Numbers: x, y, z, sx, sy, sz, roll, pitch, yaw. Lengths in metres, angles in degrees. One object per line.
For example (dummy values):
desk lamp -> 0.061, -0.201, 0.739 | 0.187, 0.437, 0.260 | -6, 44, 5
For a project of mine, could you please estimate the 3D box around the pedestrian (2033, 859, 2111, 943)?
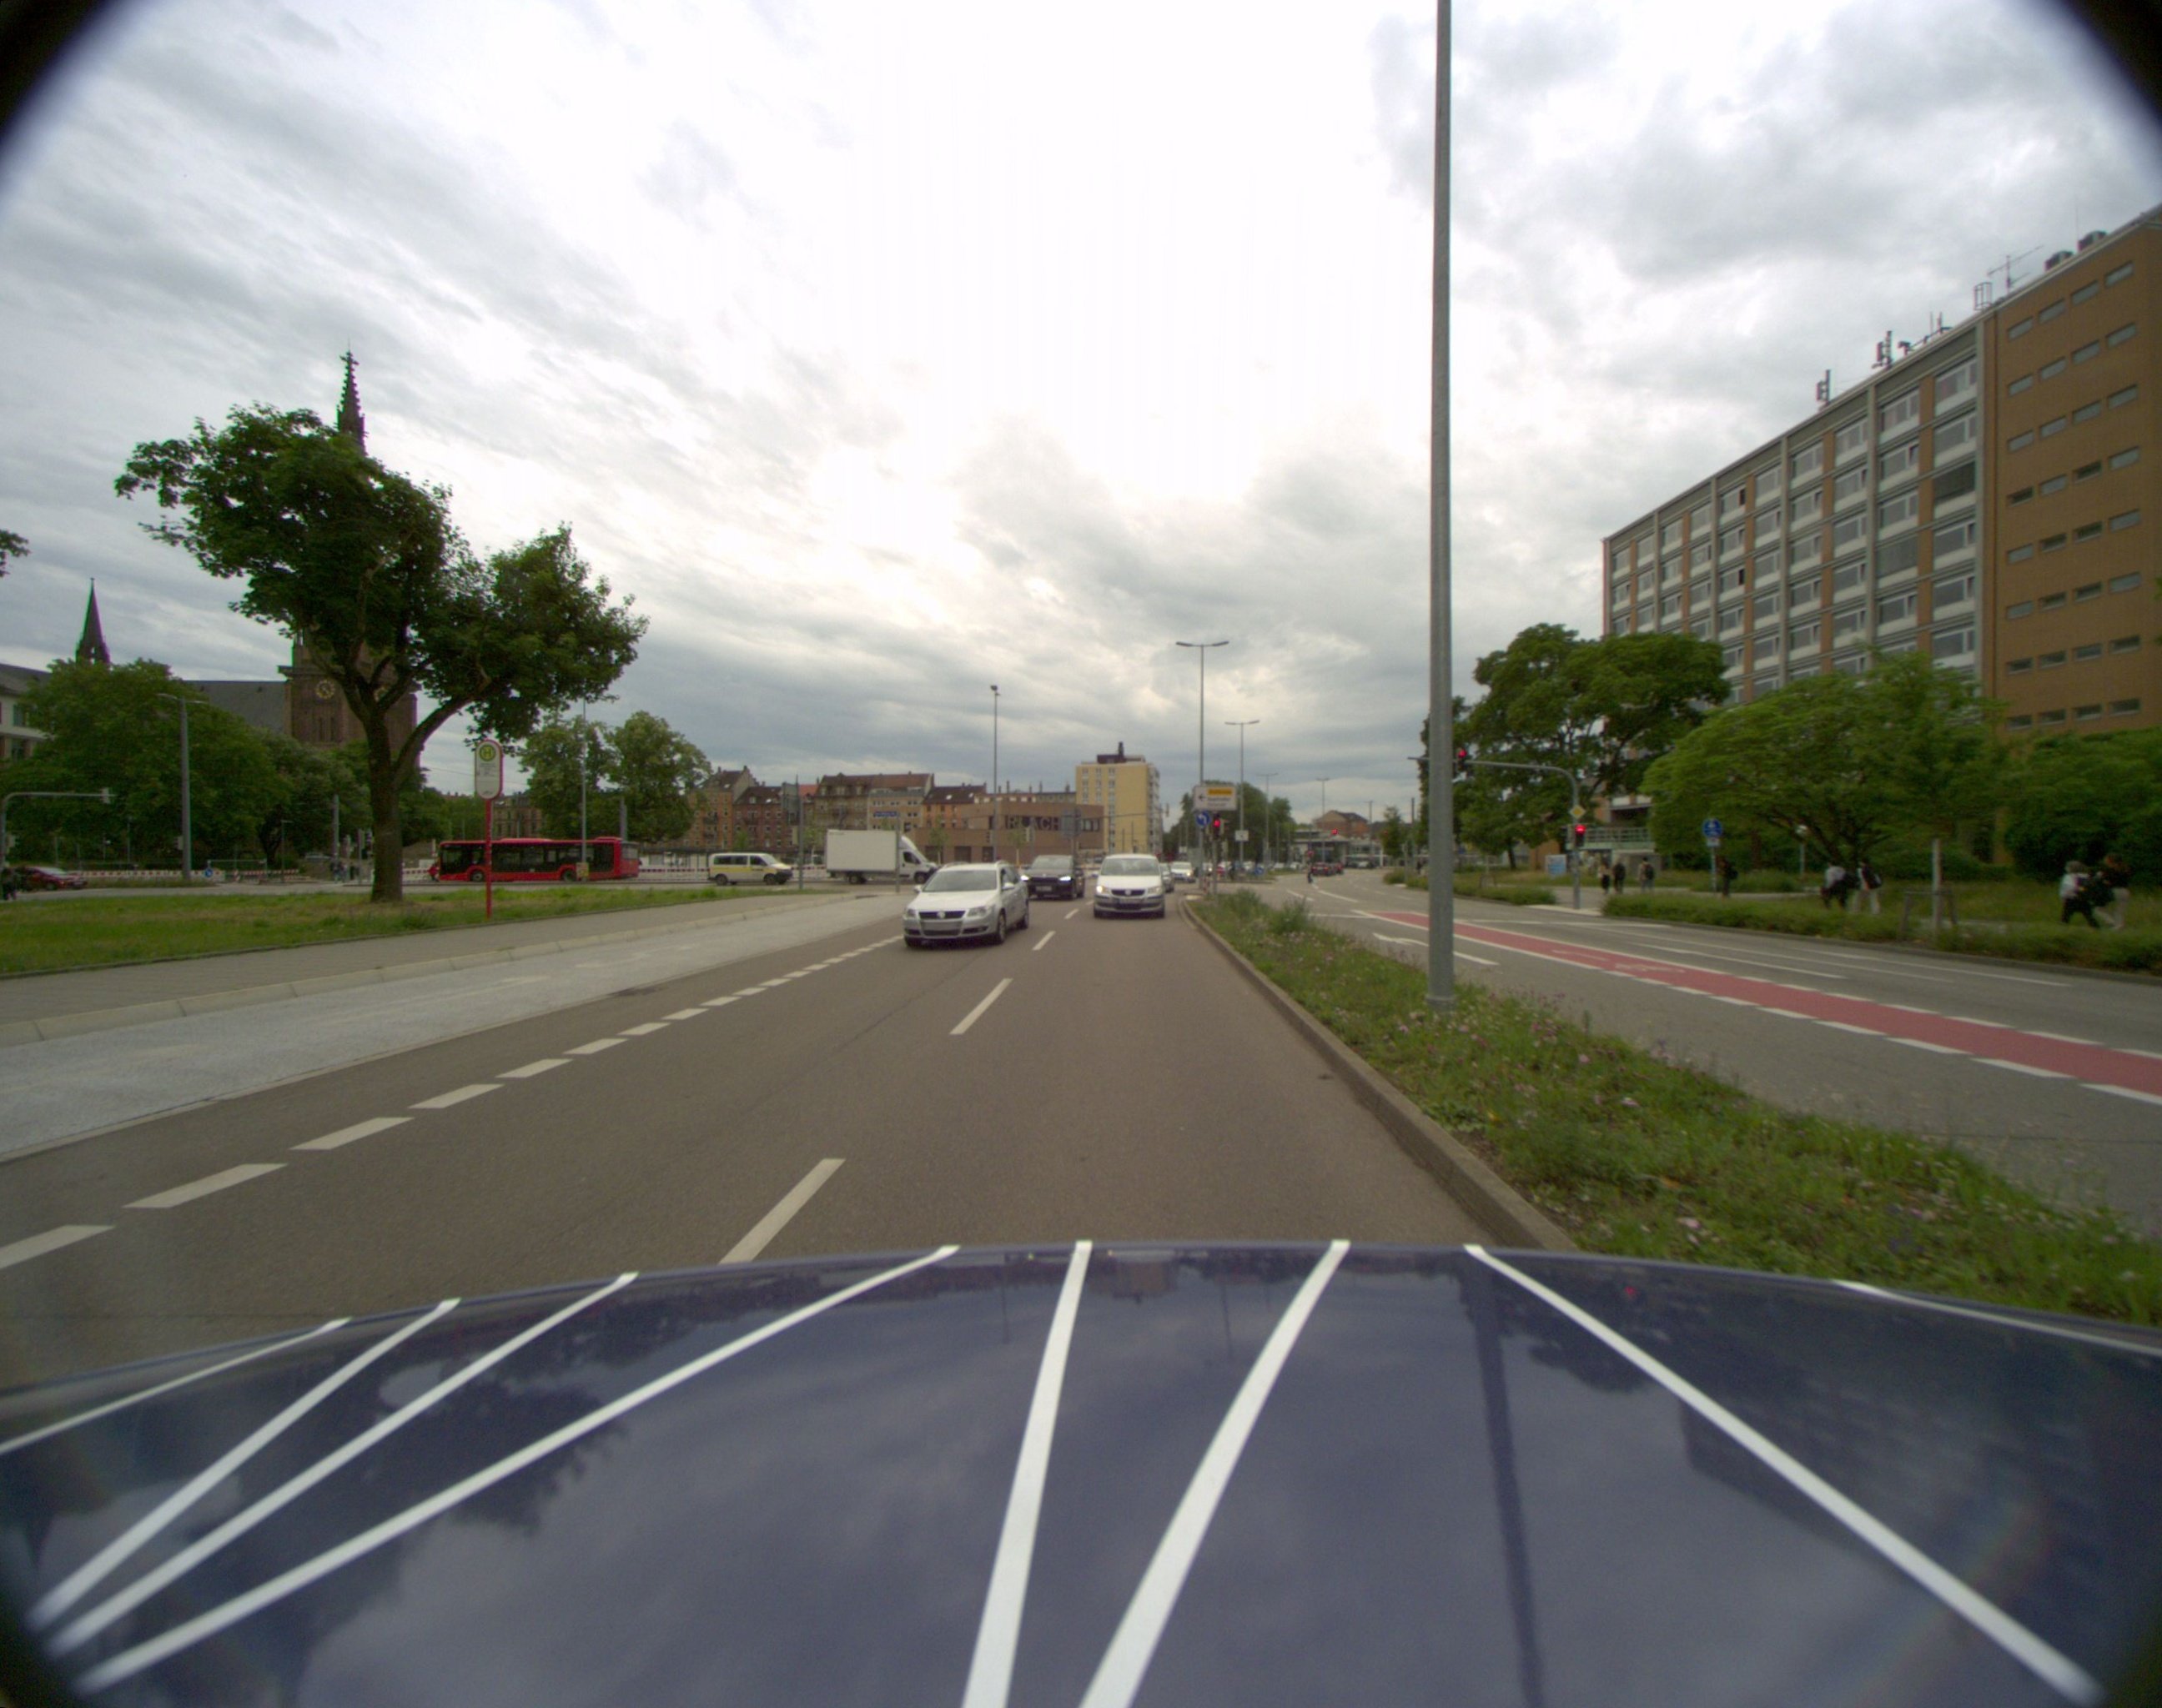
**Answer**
pedestrian -> 20.594, 0.960, 15.806 | 0.622, 1.685, 0.747 | 2, 0, 11

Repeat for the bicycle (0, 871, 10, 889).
bicycle -> -62.991, 1.483, 43.376 | 2.222, 1.032, 0.792 | 2, 0, -11

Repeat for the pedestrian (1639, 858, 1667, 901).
pedestrian -> 23.997, 1.055, 31.885 | 0.638, 1.790, 0.762 | 0, 0, 7

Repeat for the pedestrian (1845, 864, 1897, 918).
pedestrian -> 22.114, 1.032, 21.287 | 0.637, 1.471, 0.762 | 2, 0, 7

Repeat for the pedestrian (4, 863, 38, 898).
pedestrian -> -50.108, 1.237, 35.912 | 0.871, 1.628, 0.693 | 0, 0, 17

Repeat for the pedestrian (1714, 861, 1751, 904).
pedestrian -> 24.636, 1.064, 28.752 | 0.635, 1.603, 0.829 | -1, 0, -19

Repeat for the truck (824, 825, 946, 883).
truck -> -12.006, -0.042, 47.024 | 6.851, 3.392, 2.559 | -1, 2, -2

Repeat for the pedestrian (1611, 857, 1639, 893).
pedestrian -> 25.585, 0.986, 35.737 | 0.708, 1.661, 0.890 | -1, 0, 7

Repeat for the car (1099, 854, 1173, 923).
car -> 1.353, 0.820, 19.863 | 1.733, 1.593, 4.106 | -1, 0, 2

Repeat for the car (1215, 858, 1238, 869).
car -> 19.865, 1.325, 103.822 | 1.815, 1.466, 4.041 | 1, 0, 31

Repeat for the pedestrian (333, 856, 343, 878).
pedestrian -> -57.870, 1.044, 59.171 | 0.373, 1.695, 0.372 | 2, 0, 2

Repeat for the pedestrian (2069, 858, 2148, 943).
pedestrian -> 21.350, 0.944, 15.804 | 0.579, 1.702, 0.762 | 2, 0, 11

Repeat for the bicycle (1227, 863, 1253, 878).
bicycle -> 13.162, 1.358, 62.942 | 2.004, 1.136, 0.807 | 1, 0, 5

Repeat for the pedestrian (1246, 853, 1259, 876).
pedestrian -> 13.442, 0.837, 59.632 | 0.917, 1.794, 0.541 | 2, 0, 19

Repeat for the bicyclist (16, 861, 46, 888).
bicyclist -> -60.099, 1.175, 43.494 | 0.782, 1.512, 0.601 | 2, 0, -12

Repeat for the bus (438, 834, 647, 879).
bus -> -36.596, 0.194, 51.942 | 12.088, 2.890, 2.938 | 0, 0, -1

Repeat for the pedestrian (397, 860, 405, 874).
pedestrian -> -60.633, 1.178, 67.752 | 0.373, 1.189, 0.372 | 2, 0, 2

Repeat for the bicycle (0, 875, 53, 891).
bicycle -> -60.305, 1.658, 43.453 | 1.821, 0.815, 0.601 | 2, 0, -12

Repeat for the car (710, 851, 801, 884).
car -> -20.012, 0.807, 46.829 | 4.712, 1.909, 1.919 | 0, 3, -3

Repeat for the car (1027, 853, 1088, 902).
car -> -0.786, 0.788, 28.050 | 1.911, 1.615, 4.491 | -1, 0, 2

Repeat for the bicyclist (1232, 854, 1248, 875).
bicyclist -> 13.148, 0.846, 62.949 | 1.191, 1.725, 0.807 | 1, 0, 5

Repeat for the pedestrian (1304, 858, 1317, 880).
pedestrian -> 17.847, 1.179, 59.077 | 0.777, 1.657, 0.707 | 2, 0, -5

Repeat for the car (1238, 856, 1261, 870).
car -> 24.732, 1.342, 111.265 | 1.994, 1.870, 4.009 | 1, 0, 31

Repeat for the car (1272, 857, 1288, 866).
car -> 34.393, 1.274, 131.222 | 1.801, 1.586, 3.767 | 1, 0, 28

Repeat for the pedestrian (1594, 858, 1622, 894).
pedestrian -> 24.836, 1.034, 35.838 | 0.708, 1.661, 0.944 | 0, 0, 7

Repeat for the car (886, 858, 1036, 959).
car -> -2.156, 0.940, 15.077 | 1.828, 1.542, 4.528 | -2, 1, 5

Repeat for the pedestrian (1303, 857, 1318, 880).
pedestrian -> 18.614, 1.189, 61.626 | 0.769, 1.794, 0.739 | 1, 0, -19

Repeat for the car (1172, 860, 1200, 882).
car -> 7.392, 1.189, 53.325 | 1.784, 1.454, 3.874 | -1, 0, 10

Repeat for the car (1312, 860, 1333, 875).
car -> 28.645, 1.580, 89.929 | 1.812, 1.657, 3.956 | 1, 1, 25

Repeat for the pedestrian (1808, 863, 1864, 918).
pedestrian -> 21.165, 1.011, 21.320 | 0.730, 1.471, 0.813 | 2, 0, 7

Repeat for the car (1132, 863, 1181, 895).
car -> 3.712, 1.177, 36.910 | 1.724, 1.406, 4.250 | -1, -1, 14

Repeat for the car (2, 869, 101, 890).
car -> -62.033, 1.506, 45.823 | 3.537, 1.149, 1.446 | 2, 0, -9
